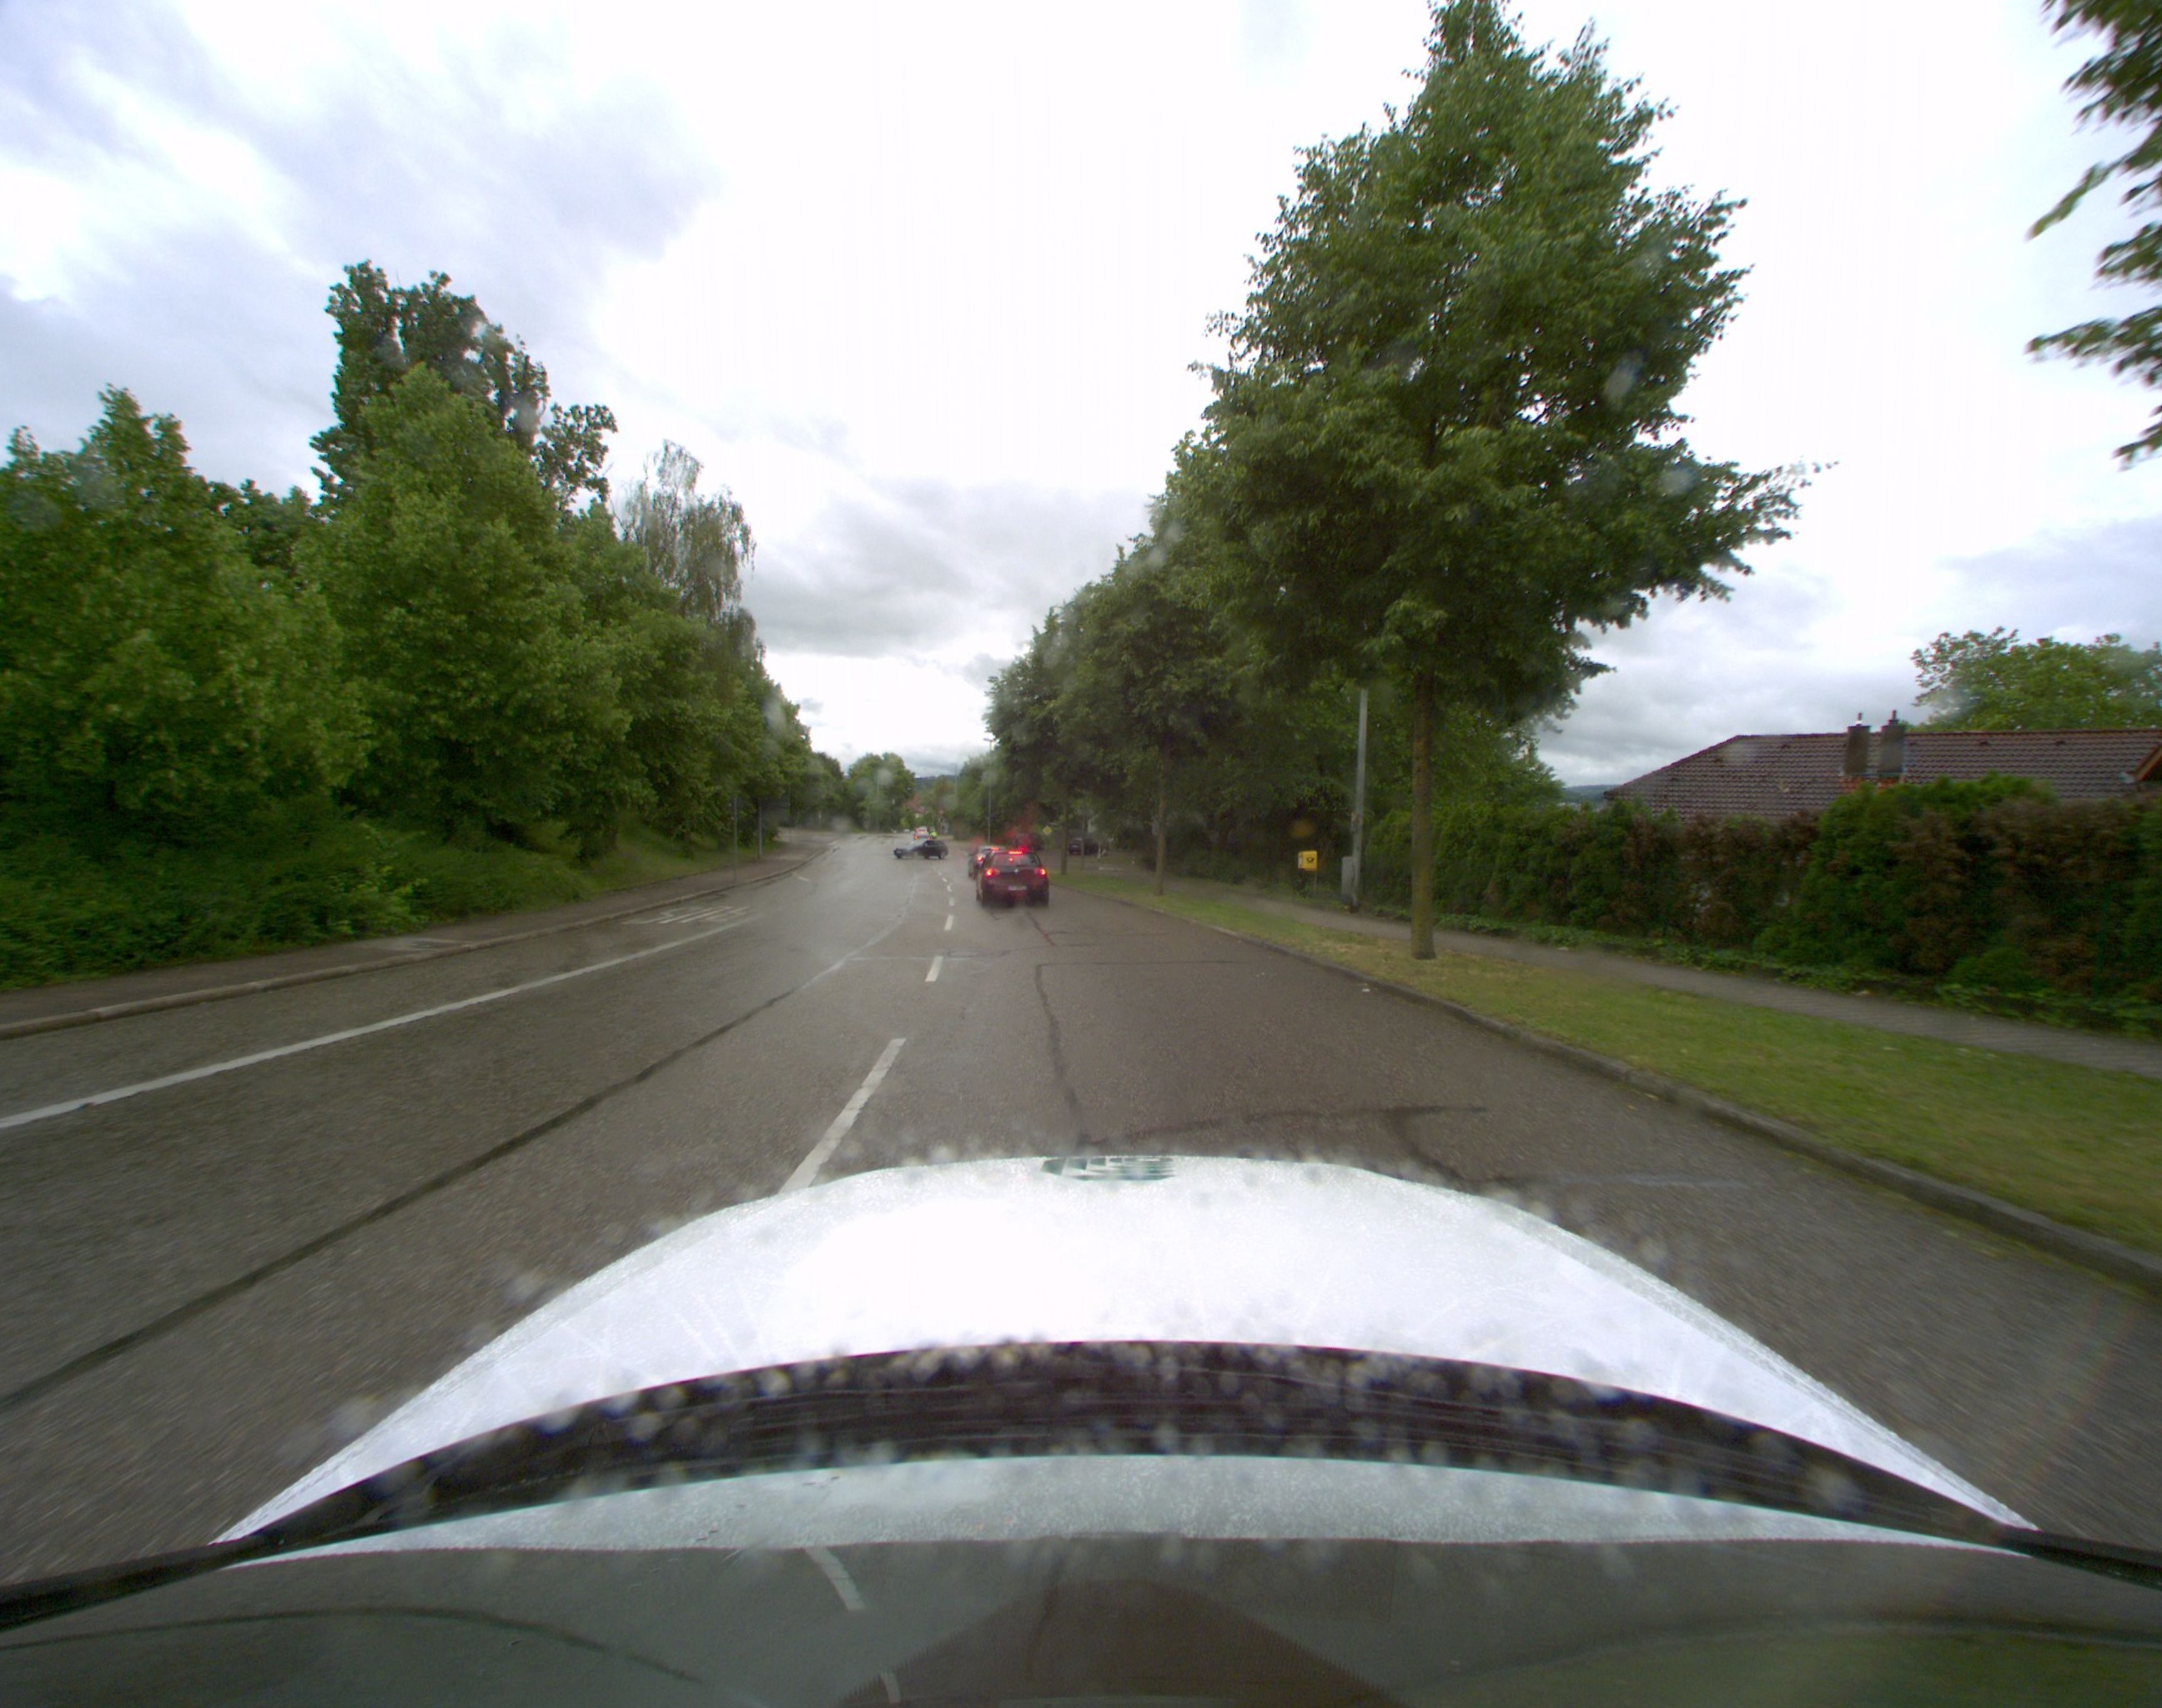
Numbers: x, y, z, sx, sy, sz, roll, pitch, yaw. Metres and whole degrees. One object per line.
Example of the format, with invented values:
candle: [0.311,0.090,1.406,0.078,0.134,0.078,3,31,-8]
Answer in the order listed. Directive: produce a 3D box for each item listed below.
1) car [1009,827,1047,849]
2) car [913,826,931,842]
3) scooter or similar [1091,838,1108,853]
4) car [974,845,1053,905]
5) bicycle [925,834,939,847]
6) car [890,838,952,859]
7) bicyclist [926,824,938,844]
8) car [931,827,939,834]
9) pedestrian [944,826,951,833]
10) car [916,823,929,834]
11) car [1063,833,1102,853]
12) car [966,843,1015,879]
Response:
car: [-4.883,-1.497,75.427,1.933,1.688,4.925,4,5,15]
car: [-16.896,-2.138,86.657,1.722,1.463,3.986,4,1,-11]
scooter or similar: [1.645,-0.750,71.808,1.339,1.285,0.558,0,1,-20]
car: [-1.918,0.516,22.154,1.722,1.464,3.985,1,0,-11]
bicycle: [-13.726,-1.224,74.895,0.855,1.155,2.022,1,1,-23]
car: [-11.465,-0.370,58.626,1.705,1.383,4.165,1,0,41]
bicyclist: [-13.715,-1.834,74.876,0.855,1.755,1.276,1,1,-23]
car: [-36.134,-5.796,201.553,1.722,1.463,3.986,4,1,-11]
pedestrian: [-25.136,-4.629,153.192,1.071,1.355,0.917,0,2,-3]
car: [-23.894,-3.842,122.860,1.722,1.463,3.986,4,1,-11]
car: [0.198,-1.018,73.819,1.736,1.469,4.593,5,5,24]
car: [-4.121,0.260,36.586,1.756,1.464,3.984,1,1,-12]
